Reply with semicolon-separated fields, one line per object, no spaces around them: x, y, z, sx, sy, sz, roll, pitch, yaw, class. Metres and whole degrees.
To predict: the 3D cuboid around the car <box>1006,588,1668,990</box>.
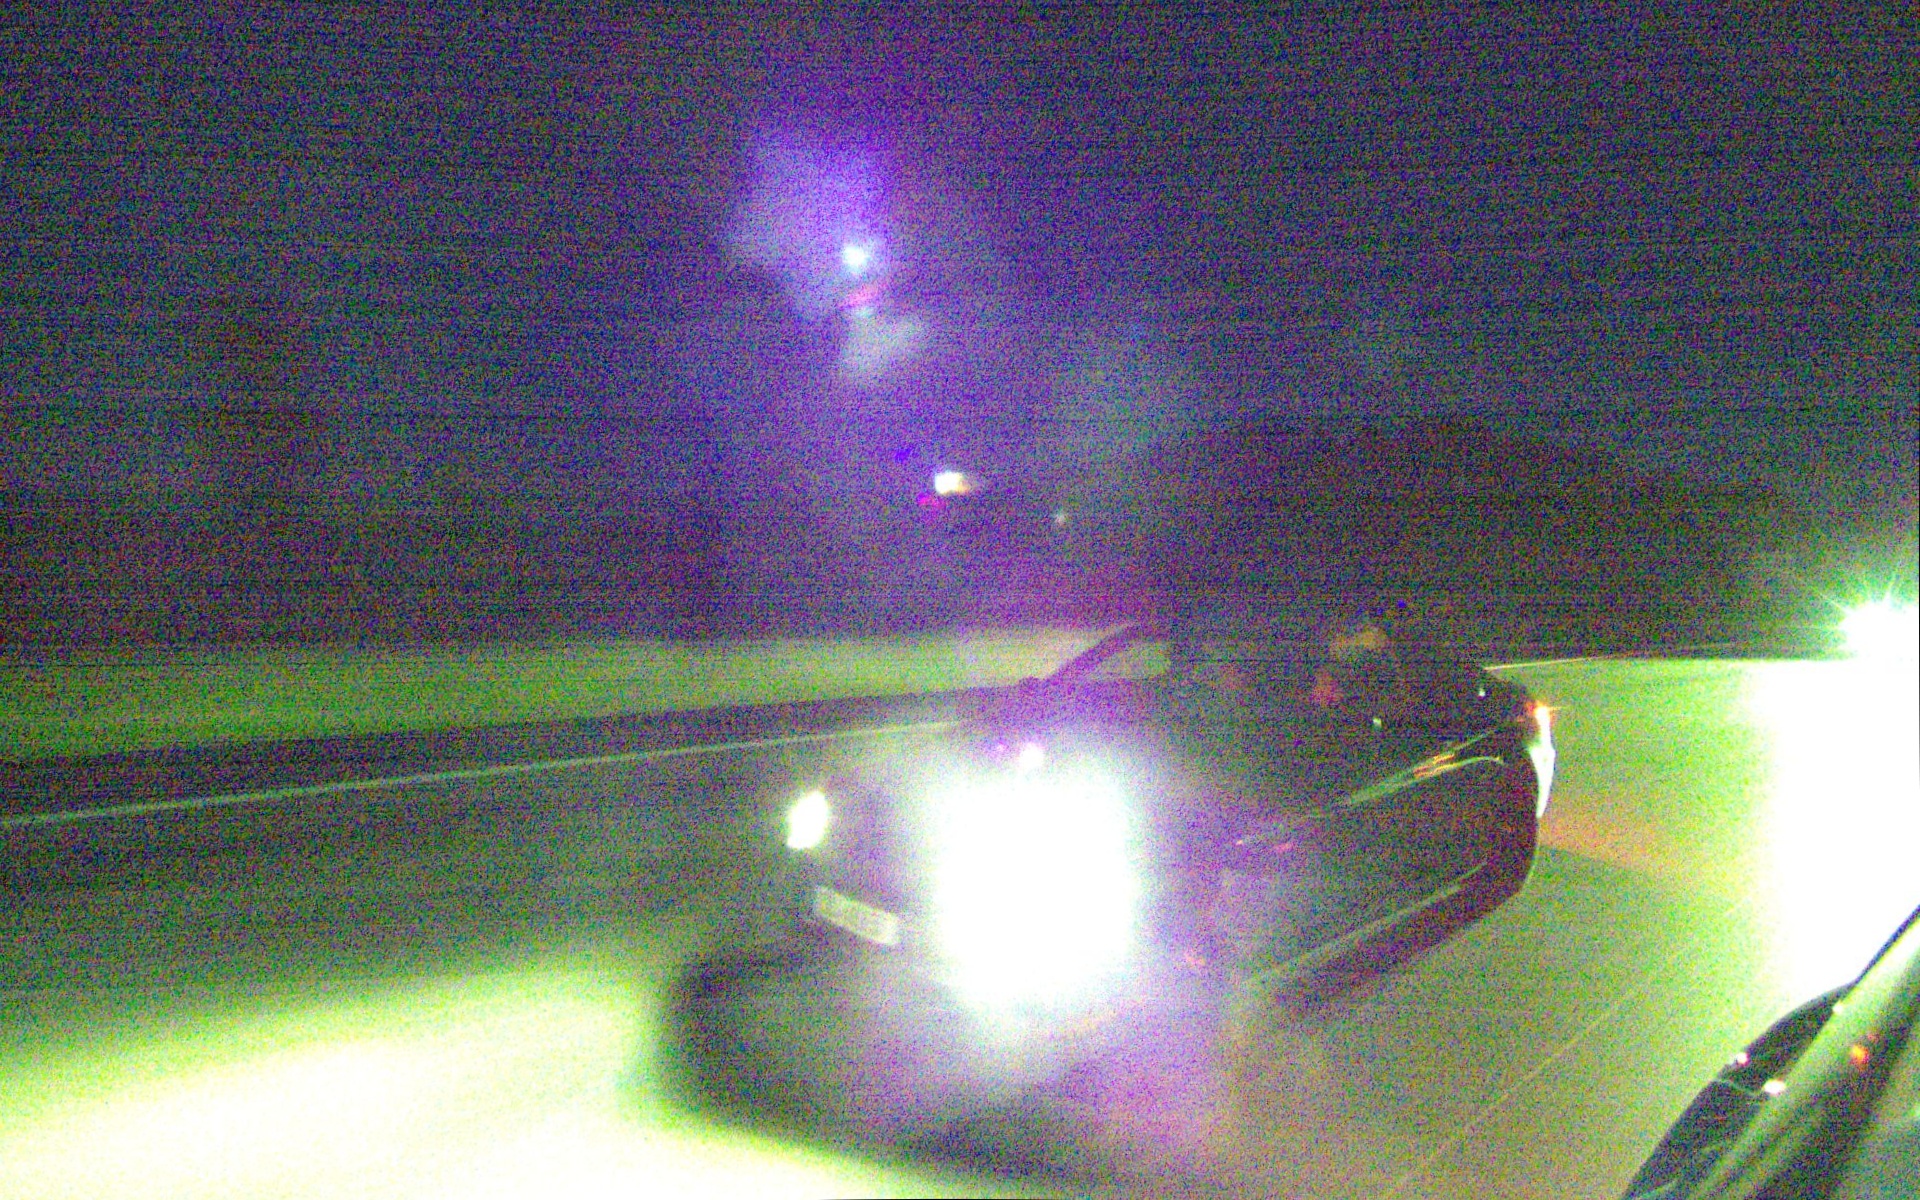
2.351;0.689;5.696;4.151;1.431;1.689;0;1;-41;car

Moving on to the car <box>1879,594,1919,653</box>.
27.033;0.638;28.051;4.151;1.560;1.794;0;1;-41;car
